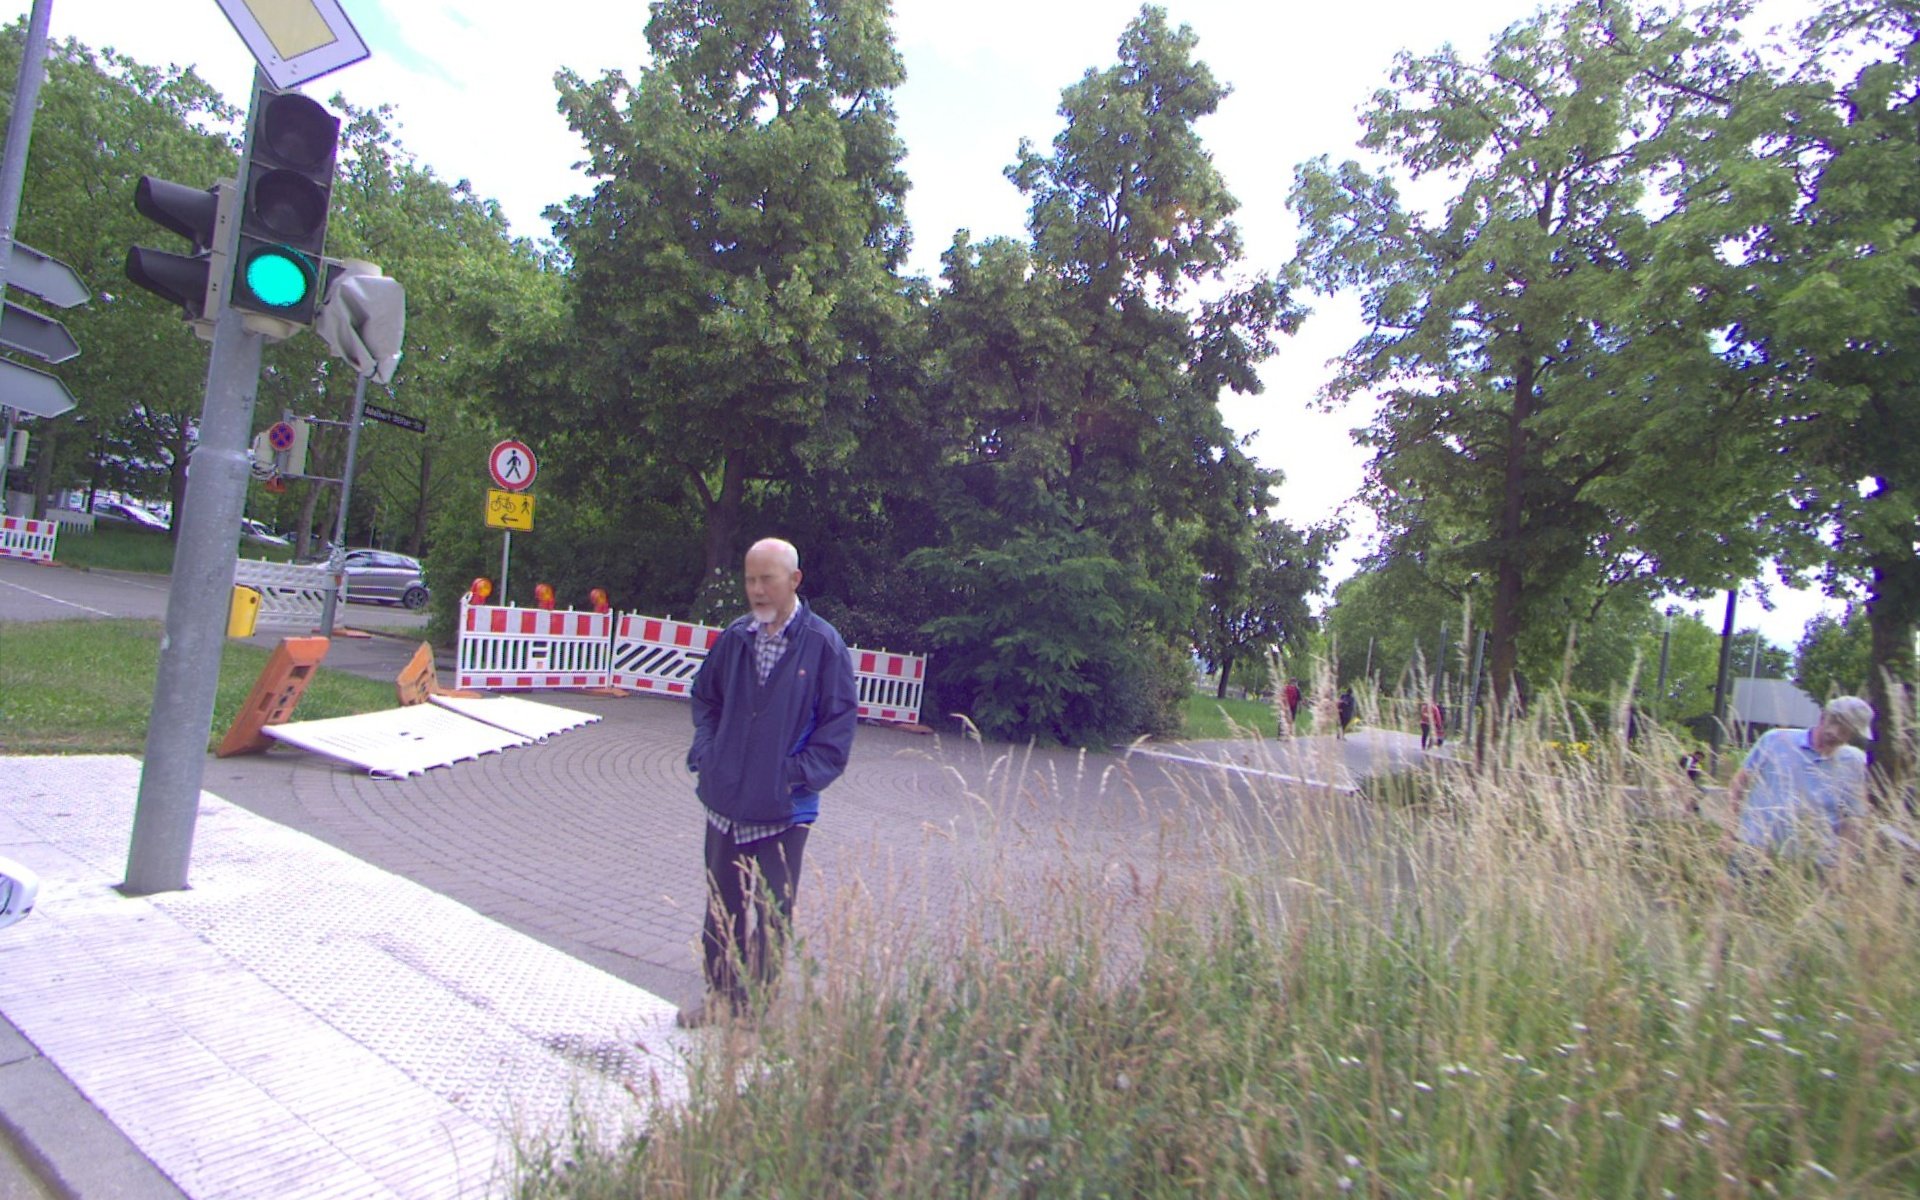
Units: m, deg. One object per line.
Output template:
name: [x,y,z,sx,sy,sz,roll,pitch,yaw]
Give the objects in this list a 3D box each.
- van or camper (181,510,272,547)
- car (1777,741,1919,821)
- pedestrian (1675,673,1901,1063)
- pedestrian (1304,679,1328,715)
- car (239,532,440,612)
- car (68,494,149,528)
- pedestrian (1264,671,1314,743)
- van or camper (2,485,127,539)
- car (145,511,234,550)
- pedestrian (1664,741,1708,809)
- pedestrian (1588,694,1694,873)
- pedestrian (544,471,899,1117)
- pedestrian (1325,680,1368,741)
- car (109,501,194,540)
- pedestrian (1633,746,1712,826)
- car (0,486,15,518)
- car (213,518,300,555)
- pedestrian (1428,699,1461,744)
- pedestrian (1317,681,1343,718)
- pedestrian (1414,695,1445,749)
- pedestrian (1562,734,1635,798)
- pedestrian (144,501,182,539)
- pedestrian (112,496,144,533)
van or camper: [-39.971,-3.873,54.868,3.706,1.372,1.519,7,-2,0]
car: [27.042,5.452,30.711,1.606,1.786,3.510,7,-2,10]
pedestrian: [4.416,1.356,5.389,0.718,1.812,0.690,7,0,41]
pedestrian: [18.360,4.996,51.902,0.974,1.671,0.871,7,0,22]
car: [-17.381,-0.739,28.411,1.744,1.604,4.404,6,-3,33]
car: [-49.818,-5.186,58.870,3.345,1.420,1.486,7,-2,2]
pedestrian: [8.326,2.692,25.448,0.974,1.671,0.871,7,0,22]
van or camper: [-39.894,-3.913,44.869,3.924,1.704,1.847,8,-1,5]
car: [-39.257,-3.530,51.300,3.344,1.420,1.486,7,-2,3]
pedestrian: [14.869,3.568,20.626,0.560,1.277,0.582,6,-1,30]
pedestrian: [7.113,1.885,10.544,0.685,1.715,0.651,7,0,29]
pedestrian: [-0.712,0.567,3.356,0.714,1.761,0.956,7,-1,2]
pedestrian: [11.497,3.271,29.938,0.974,1.671,0.871,7,0,22]
car: [-49.788,-4.912,62.002,3.751,1.653,1.675,9,-2,2]
pedestrian: [9.304,2.418,13.165,0.685,0.874,0.651,7,-1,29]
car: [-49.215,-5.118,49.373,4.187,1.517,1.736,7,-2,6]
car: [-40.029,-3.598,57.273,3.819,1.482,1.486,7,-2,2]
pedestrian: [19.705,4.930,40.925,0.974,1.671,0.871,7,0,22]
pedestrian: [17.967,4.817,48.880,0.974,1.671,0.871,7,0,22]
pedestrian: [14.026,3.627,30.022,0.624,1.519,0.704,7,-1,30]
pedestrian: [11.386,2.949,17.952,0.703,0.959,0.747,8,-1,-20]
pedestrian: [-44.785,-4.462,56.554,1.039,1.893,1.077,7,-1,10]
pedestrian: [-40.765,-4.185,49.319,0.785,1.604,0.796,6,-1,24]
